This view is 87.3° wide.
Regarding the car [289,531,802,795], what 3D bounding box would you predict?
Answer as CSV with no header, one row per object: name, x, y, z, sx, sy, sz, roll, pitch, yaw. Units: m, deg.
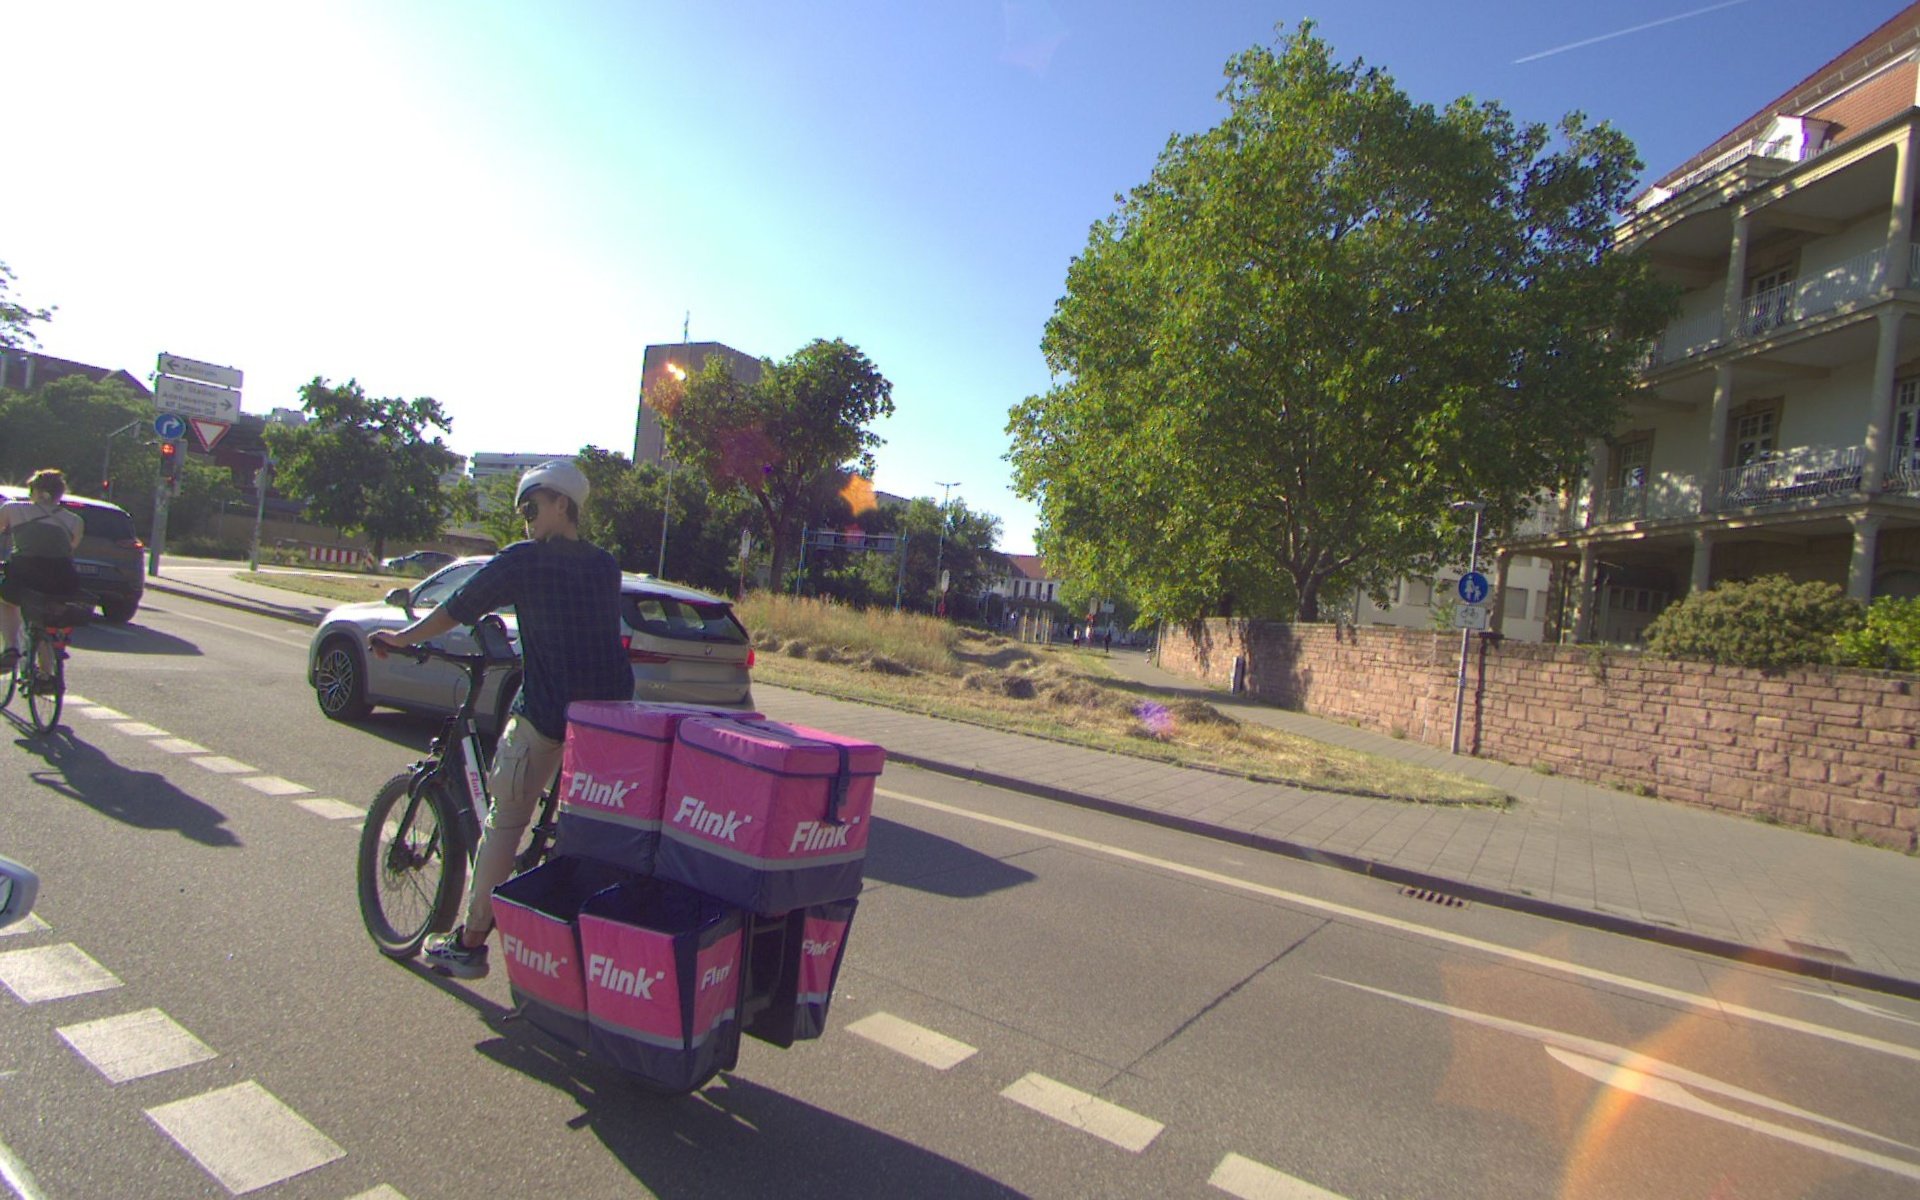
car,-3.692,0.452,8.779,4.256,1.612,1.791,6,-2,30

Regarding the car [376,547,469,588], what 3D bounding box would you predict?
car,-26.740,-1.600,50.089,1.627,1.579,3.634,7,-1,41

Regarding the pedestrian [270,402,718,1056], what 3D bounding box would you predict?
pedestrian,-1.576,0.366,3.477,0.940,1.890,0.808,6,-2,28

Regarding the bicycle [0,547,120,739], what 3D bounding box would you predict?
bicycle,-6.593,0.237,6.989,1.919,1.164,0.564,5,-2,35

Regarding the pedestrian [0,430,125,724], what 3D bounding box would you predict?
pedestrian,-6.453,-0.151,6.954,0.859,1.890,0.659,6,-2,34

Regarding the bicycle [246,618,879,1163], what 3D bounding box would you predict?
bicycle,-1.450,0.777,3.403,2.333,1.184,0.555,5,-2,30

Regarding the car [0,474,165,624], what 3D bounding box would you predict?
car,-13.346,-0.781,14.240,4.298,1.708,1.835,5,-3,32
